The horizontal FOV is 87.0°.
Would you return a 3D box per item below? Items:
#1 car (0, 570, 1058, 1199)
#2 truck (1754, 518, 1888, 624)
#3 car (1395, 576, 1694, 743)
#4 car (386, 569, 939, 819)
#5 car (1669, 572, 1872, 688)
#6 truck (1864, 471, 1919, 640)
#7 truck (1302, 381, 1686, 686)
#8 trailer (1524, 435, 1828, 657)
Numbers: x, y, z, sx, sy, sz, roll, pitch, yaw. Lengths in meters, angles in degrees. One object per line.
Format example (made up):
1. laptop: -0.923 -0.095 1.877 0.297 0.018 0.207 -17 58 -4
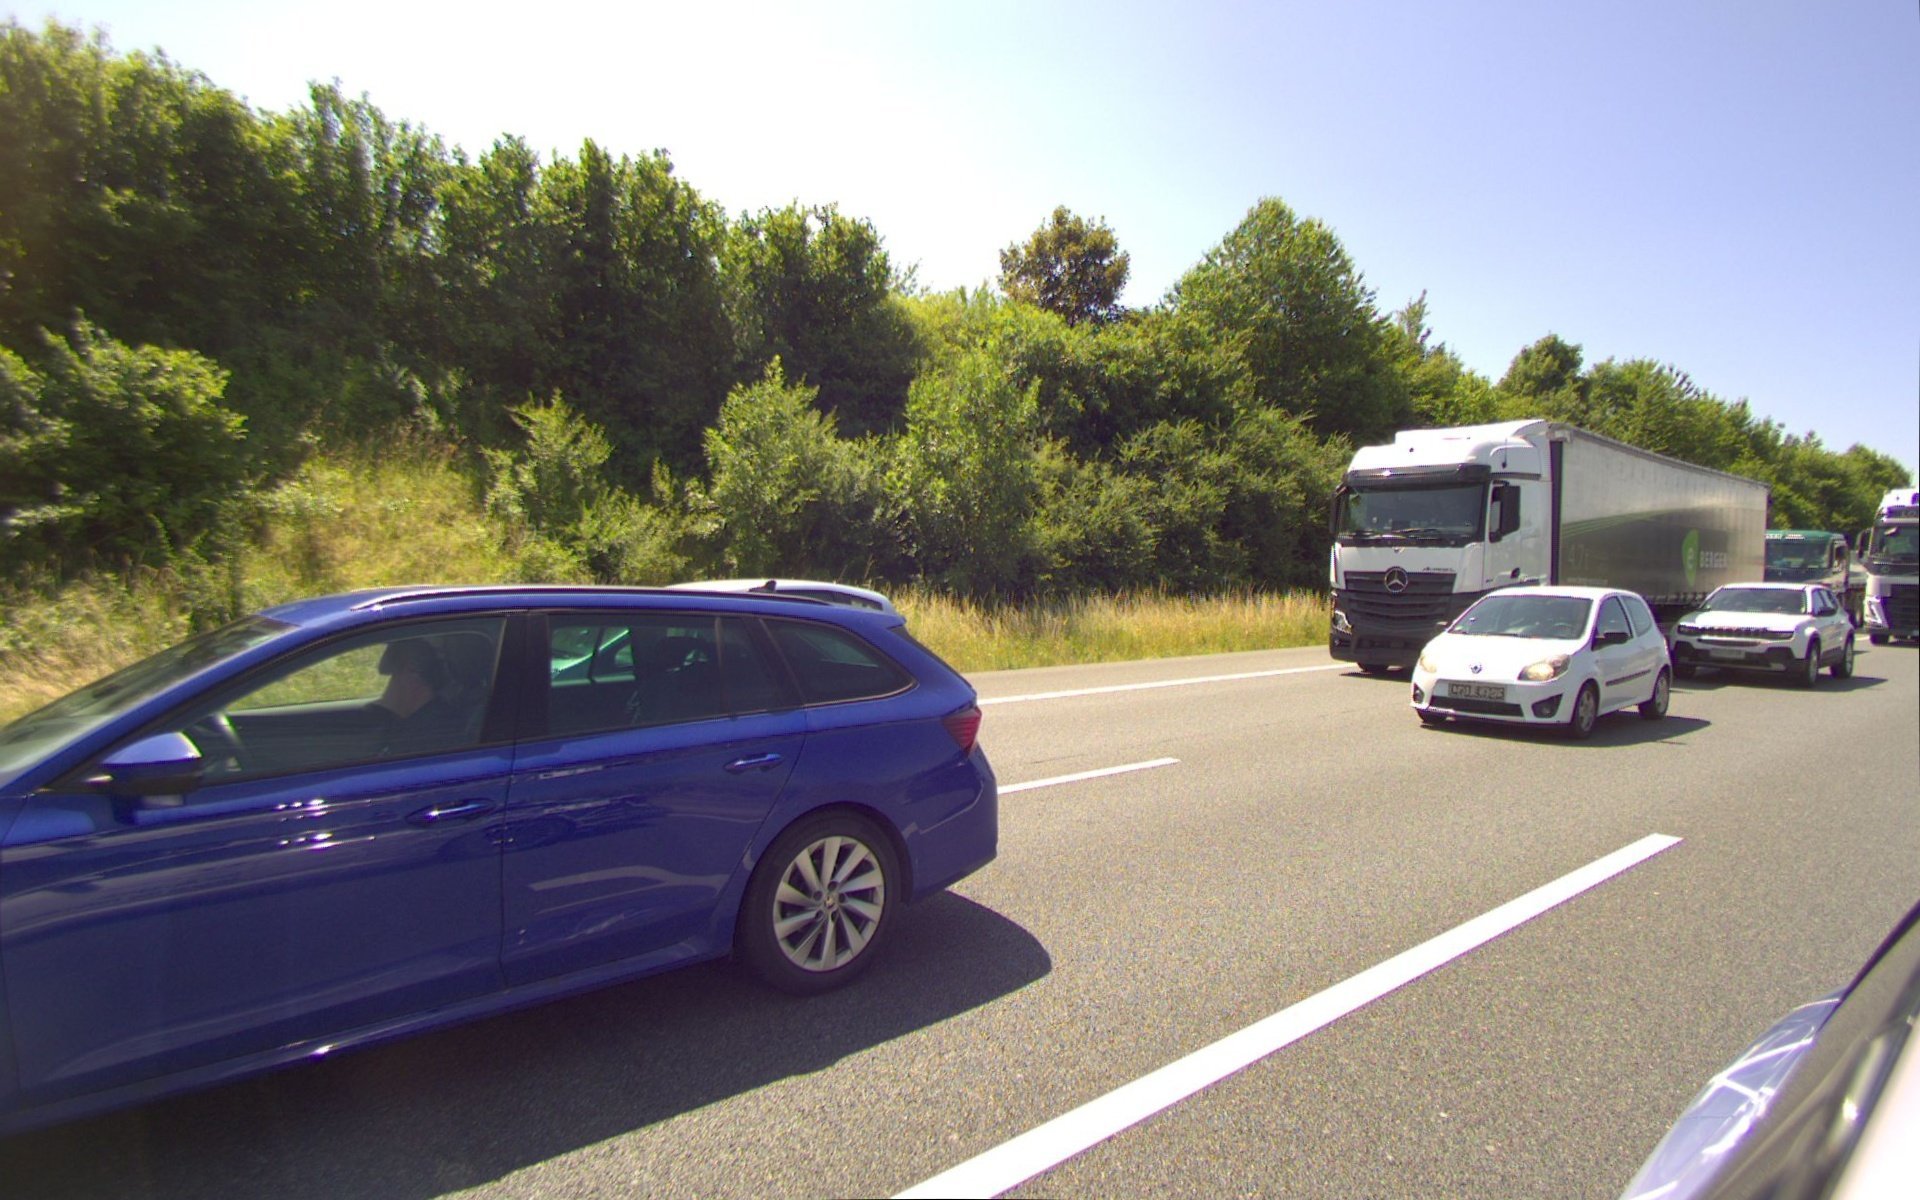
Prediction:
1. car: -1.904 0.641 3.535 4.489 1.434 1.781 -2 3 -38
2. truck: 28.162 -0.938 33.043 5.573 3.185 2.300 -1 1 -39
3. car: 6.432 0.497 10.996 3.743 1.451 1.609 -2 3 -40
4. car: -2.185 0.522 7.975 3.853 1.479 1.666 -1 3 -40
5. car: 12.979 0.365 16.148 3.815 1.577 1.748 -2 3 -39
6. truck: 26.425 -1.122 26.511 8.209 4.044 2.750 -1 1 -39
7. truck: 9.636 -1.010 17.741 8.322 4.208 2.880 -1 1 -39
8. trailer: 17.427 -1.146 24.080 11.860 4.208 2.879 -1 1 -39
